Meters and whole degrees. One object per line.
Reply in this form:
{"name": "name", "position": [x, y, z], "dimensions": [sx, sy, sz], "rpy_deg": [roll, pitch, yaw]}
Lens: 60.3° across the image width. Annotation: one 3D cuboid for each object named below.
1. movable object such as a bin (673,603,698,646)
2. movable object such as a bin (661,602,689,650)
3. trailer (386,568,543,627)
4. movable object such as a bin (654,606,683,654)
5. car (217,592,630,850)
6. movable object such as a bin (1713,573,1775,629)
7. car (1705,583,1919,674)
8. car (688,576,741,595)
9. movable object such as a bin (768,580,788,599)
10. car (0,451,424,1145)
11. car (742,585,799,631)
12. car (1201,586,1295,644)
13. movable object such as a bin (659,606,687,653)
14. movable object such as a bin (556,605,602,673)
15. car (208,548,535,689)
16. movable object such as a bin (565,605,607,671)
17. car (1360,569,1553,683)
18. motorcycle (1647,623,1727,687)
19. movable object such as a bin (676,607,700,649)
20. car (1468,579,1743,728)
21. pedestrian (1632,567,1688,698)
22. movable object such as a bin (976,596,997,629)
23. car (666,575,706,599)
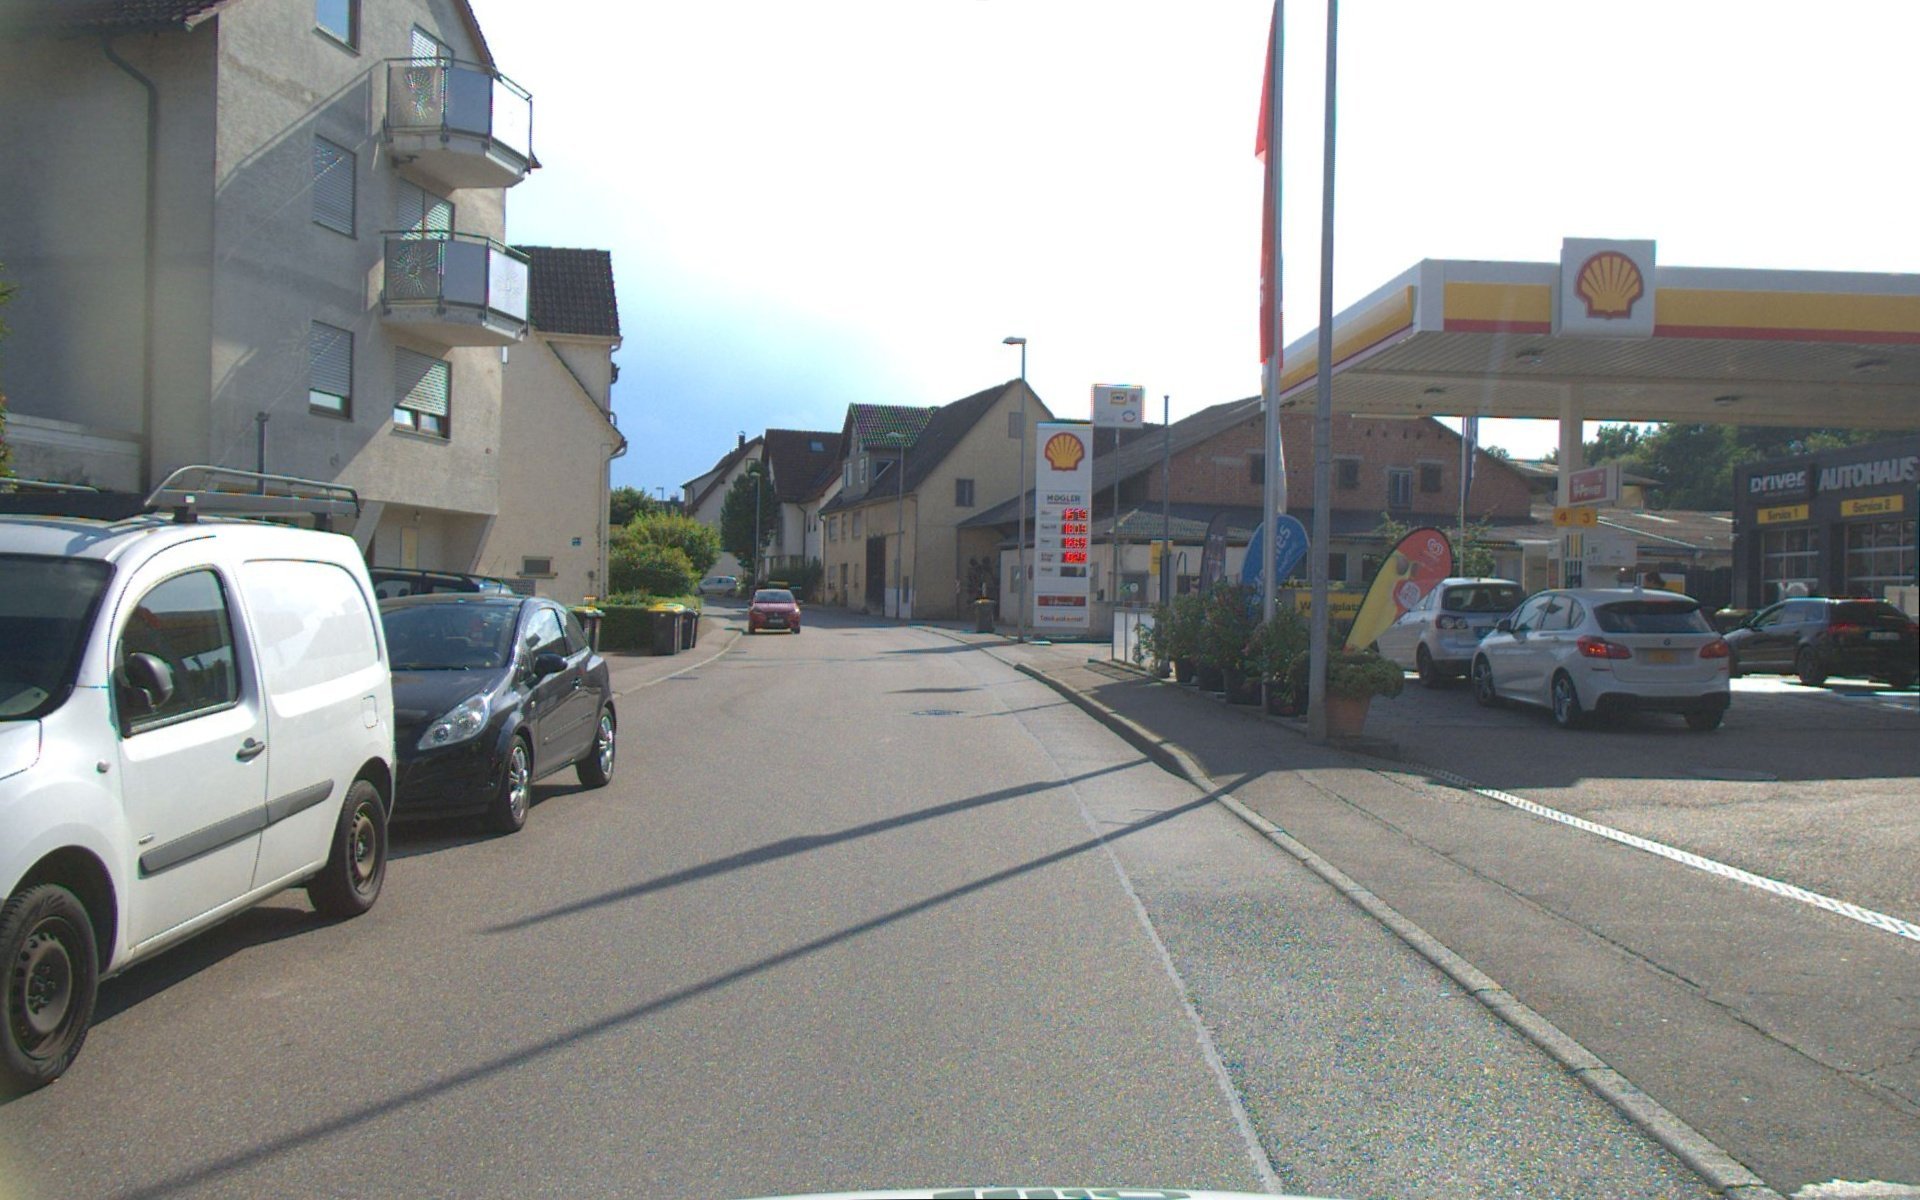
{"name": "movable object such as a bin", "position": [-6.787, 0.607, 40.911], "dimensions": [0.521, 1.040, 0.457], "rpy_deg": [-1, 0, -3]}
{"name": "movable object such as a bin", "position": [-6.952, 0.629, 40.332], "dimensions": [0.576, 1.141, 0.617], "rpy_deg": [-1, 0, -3]}
{"name": "trailer", "position": [-8.721, -0.021, 29.314], "dimensions": [1.302, 0.870, 2.893], "rpy_deg": [3, -2, 15]}
{"name": "movable object such as a bin", "position": [-6.879, 0.712, 39.042], "dimensions": [0.576, 1.103, 0.508], "rpy_deg": [-1, 0, -3]}
{"name": "car", "position": [-3.471, 0.687, 11.443], "dimensions": [1.638, 1.477, 3.834], "rpy_deg": [0, 0, -1]}
{"name": "movable object such as a bin", "position": [20.090, 0.017, 42.400], "dimensions": [0.969, 1.399, 1.126], "rpy_deg": [0, 1, -8]}
{"name": "car", "position": [14.353, 0.486, 28.076], "dimensions": [1.506, 1.425, 3.996], "rpy_deg": [0, -1, -2]}
{"name": "car", "position": [-18.543, -1.064, 124.837], "dimensions": [3.915, 1.376, 1.706], "rpy_deg": [1, 0, -11]}
{"name": "movable object such as a bin", "position": [-11.523, -0.641, 104.705], "dimensions": [1.141, 1.189, 0.652], "rpy_deg": [1, 0, -14]}
{"name": "car", "position": [-3.498, 0.540, 6.128], "dimensions": [1.681, 1.905, 4.191], "rpy_deg": [0, 0, -1]}
{"name": "car", "position": [-6.461, 0.257, 56.158], "dimensions": [1.678, 1.460, 3.770], "rpy_deg": [-1, 0, -11]}
{"name": "car", "position": [7.863, 0.383, 45.512], "dimensions": [1.546, 1.452, 4.378], "rpy_deg": [1, 1, -3]}
{"name": "movable object such as a bin", "position": [-6.883, 0.703, 39.689], "dimensions": [0.576, 1.103, 0.529], "rpy_deg": [-1, 0, -3]}
{"name": "movable object such as a bin", "position": [-6.375, 0.648, 27.683], "dimensions": [0.587, 1.089, 0.618], "rpy_deg": [3, 0, -2]}
{"name": "car", "position": [-8.313, 0.234, 23.507], "dimensions": [3.903, 1.564, 1.764], "rpy_deg": [5, 1, 10]}
{"name": "movable object such as a bin", "position": [-6.407, 0.648, 28.345], "dimensions": [0.558, 1.089, 0.557], "rpy_deg": [3, 0, -2]}
{"name": "car", "position": [7.495, 0.343, 25.354], "dimensions": [1.638, 1.605, 3.997], "rpy_deg": [0, 1, -2]}
{"name": "motorcycle", "position": [10.697, 0.795, 24.388], "dimensions": [0.385, 0.889, 1.812], "rpy_deg": [1, 0, 0]}
{"name": "movable object such as a bin", "position": [-6.801, 0.691, 41.401], "dimensions": [0.521, 1.040, 0.457], "rpy_deg": [-1, 0, -3]}
{"name": "car", "position": [7.606, 0.560, 19.904], "dimensions": [1.638, 1.605, 3.997], "rpy_deg": [0, 1, -2]}
{"name": "pedestrian", "position": [9.273, 0.425, 21.927], "dimensions": [0.490, 1.699, 0.534], "rpy_deg": [1, 0, -2]}
{"name": "movable object such as a bin", "position": [0.907, 0.417, 56.372], "dimensions": [0.640, 1.092, 0.512], "rpy_deg": [1, 0, -5]}
{"name": "car", "position": [-19.151, -0.929, 115.414], "dimensions": [1.684, 1.606, 3.967], "rpy_deg": [1, 1, -26]}
